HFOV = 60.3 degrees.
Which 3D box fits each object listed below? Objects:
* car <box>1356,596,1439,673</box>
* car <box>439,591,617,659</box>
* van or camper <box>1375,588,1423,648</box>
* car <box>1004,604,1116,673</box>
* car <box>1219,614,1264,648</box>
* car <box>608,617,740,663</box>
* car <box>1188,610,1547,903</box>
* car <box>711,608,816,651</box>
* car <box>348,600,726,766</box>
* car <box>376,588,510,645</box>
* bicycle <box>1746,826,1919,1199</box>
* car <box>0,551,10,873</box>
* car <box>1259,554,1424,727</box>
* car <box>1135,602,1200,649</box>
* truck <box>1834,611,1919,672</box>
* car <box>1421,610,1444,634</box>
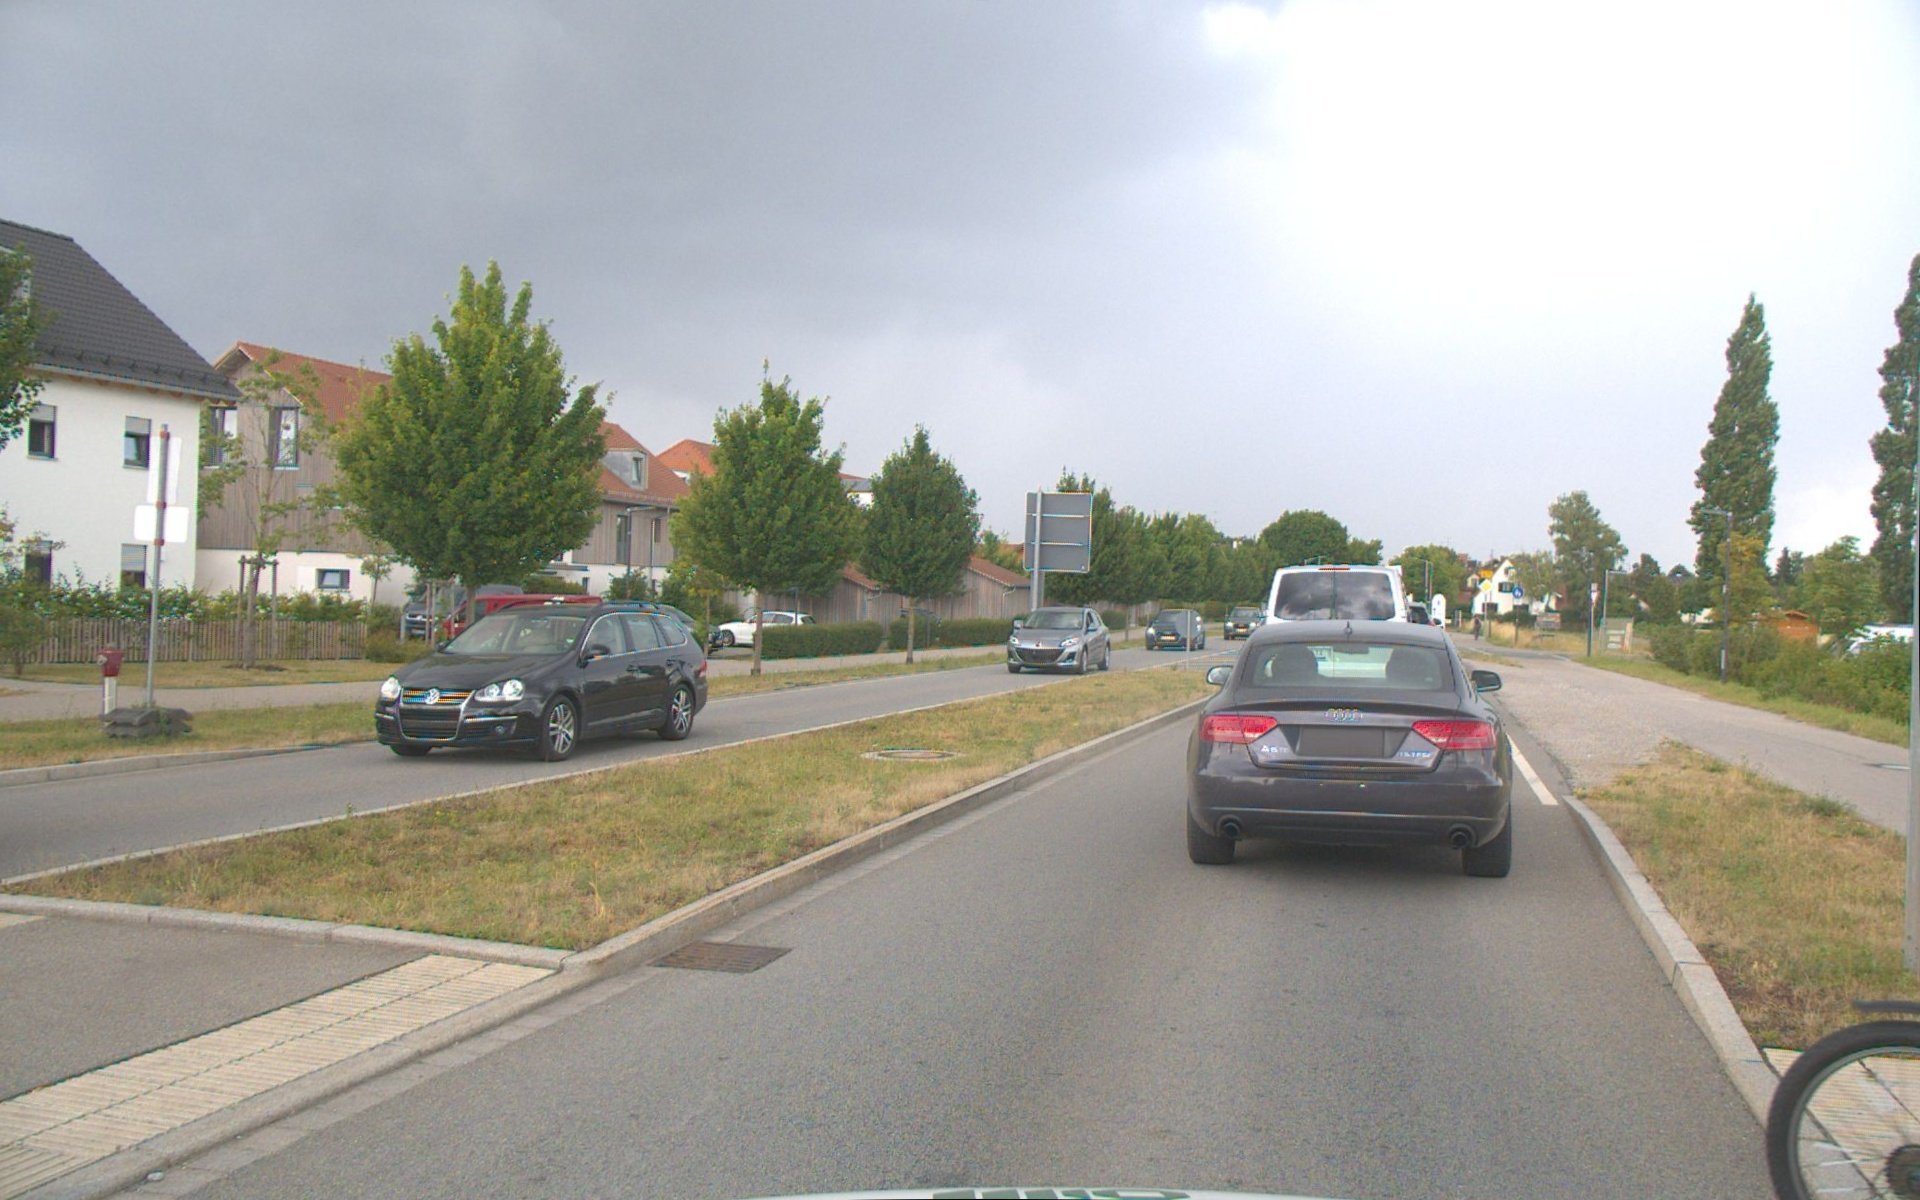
[{"bbox_3d":[10.223,0.769,38.543,1.739,1.646,4.002,2,0,16],"label":"car"},{"bbox_3d":[-12.174,0.687,46.639,4.436,1.709,2.001,2,0,19],"label":"car"},{"bbox_3d":[26.101,1.103,98.396,2.569,3.382,6.825,2,-1,15],"label":"van or camper"},{"bbox_3d":[2.349,0.841,37.874,1.693,1.434,4.208,2,0,16],"label":"car"},{"bbox_3d":[13.838,1.495,81.146,1.827,1.601,4.003,2,0,14],"label":"car"},{"bbox_3d":[-9.439,1.308,54.707,3.831,1.338,1.844,2,0,13],"label":"car"},{"bbox_3d":[2.512,0.786,10.360,1.746,1.416,4.136,1,0,13],"label":"car"},{"bbox_3d":[-7.601,1.133,64.208,3.650,1.508,1.688,2,0,12],"label":"car"},{"bbox_3d":[-4.059,0.748,16.734,1.716,1.441,4.458,0,-1,15],"label":"car"},{"bbox_3d":[-17.358,0.566,55.743,1.952,1.803,4.466,2,-1,20],"label":"car"},{"bbox_3d":[2.398,0.991,3.042,1.678,0.963,0.496,0,0,33],"label":"bicycle"},{"bbox_3d":[-6.751,0.559,6.994,1.951,1.733,4.637,1,0,17],"label":"car"},{"bbox_3d":[4.986,0.481,21.626,1.827,1.968,4.003,3,0,13],"label":"car"},{"bbox_3d":[7.529,0.899,59.808,1.827,1.601,4.003,2,0,14],"label":"car"},{"bbox_3d":[31.891,1.425,54.857,4.694,1.905,2.002,2,0,11],"label":"truck"},{"bbox_3d":[34.621,1.588,121.253,1.579,1.659,3.618,2,0,16],"label":"car"}]
